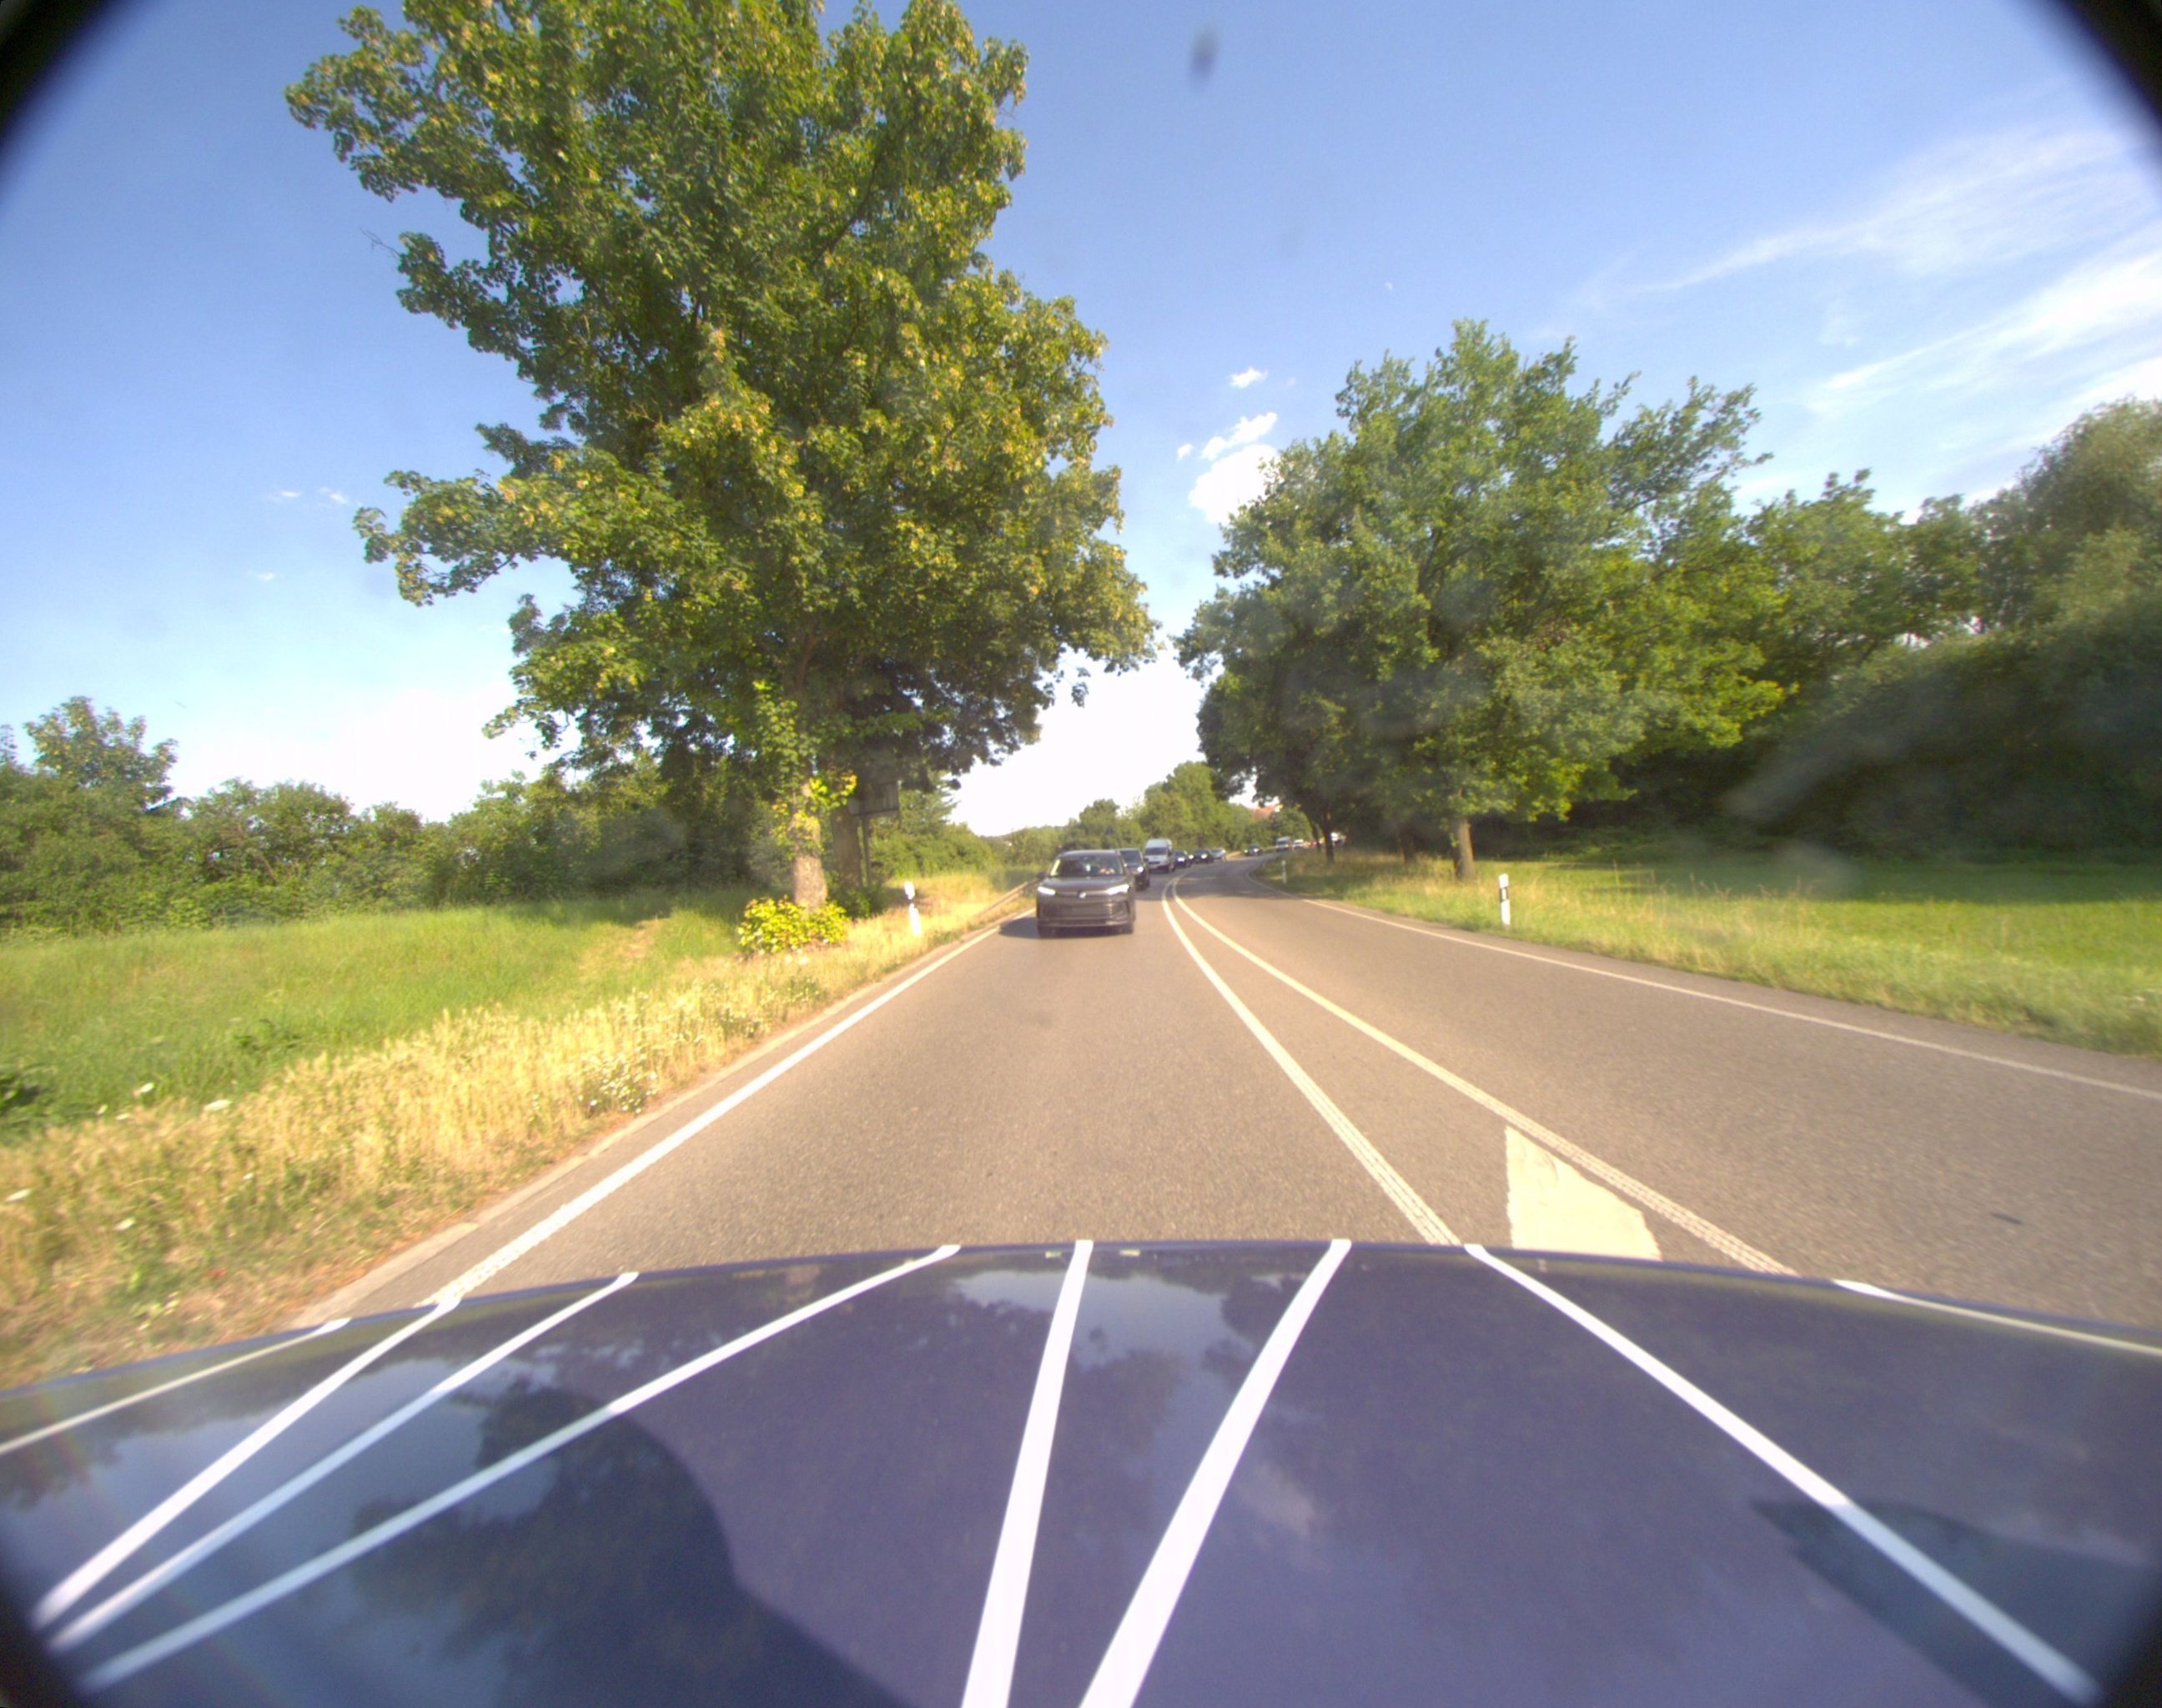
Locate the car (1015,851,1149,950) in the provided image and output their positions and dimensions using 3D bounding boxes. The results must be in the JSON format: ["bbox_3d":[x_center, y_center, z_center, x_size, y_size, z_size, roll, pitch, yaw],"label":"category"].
[{"bbox_3d":[0.212,0.826,15.875,1.921,1.612,4.704,-3,1,10],"label":"car"}]

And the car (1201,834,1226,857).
[{"bbox_3d":[14.977,-0.960,85.583,2.086,2.403,5.147,-3,1,16],"label":"car"}]

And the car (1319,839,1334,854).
[{"bbox_3d":[42.424,-1.262,131.191,2.085,2.403,5.148,-2,1,21],"label":"car"}]

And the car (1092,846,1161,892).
[{"bbox_3d":[2.014,0.581,32.090,1.920,1.718,4.706,-3,0,15],"label":"car"}]

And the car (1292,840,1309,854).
[{"bbox_3d":[43.208,-1.404,149.335,2.085,2.403,5.150,-2,1,27],"label":"car"}]

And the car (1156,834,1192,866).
[{"bbox_3d":[7.788,-0.380,62.937,2.086,2.403,5.147,-3,1,16],"label":"car"}]

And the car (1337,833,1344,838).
[{"bbox_3d":[84.887,-6.053,248.354,1.892,1.622,4.257,-2,1,24],"label":"car"}]

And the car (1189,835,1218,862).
[{"bbox_3d":[12.028,-0.562,74.139,2.086,2.403,5.147,-3,1,16],"label":"car"}]

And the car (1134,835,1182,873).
[{"bbox_3d":[5.346,-0.051,52.070,2.086,2.403,5.148,-2,1,19],"label":"car"}]

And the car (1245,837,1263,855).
[{"bbox_3d":[24.261,-1.131,106.312,2.086,2.403,5.147,-3,1,16],"label":"car"}]

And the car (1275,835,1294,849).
[{"bbox_3d":[35.974,-2.135,133.980,2.085,2.403,5.150,-2,1,27],"label":"car"}]

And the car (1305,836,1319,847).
[{"bbox_3d":[52.535,-2.893,173.039,2.085,2.403,5.150,-2,1,27],"label":"car"}]
